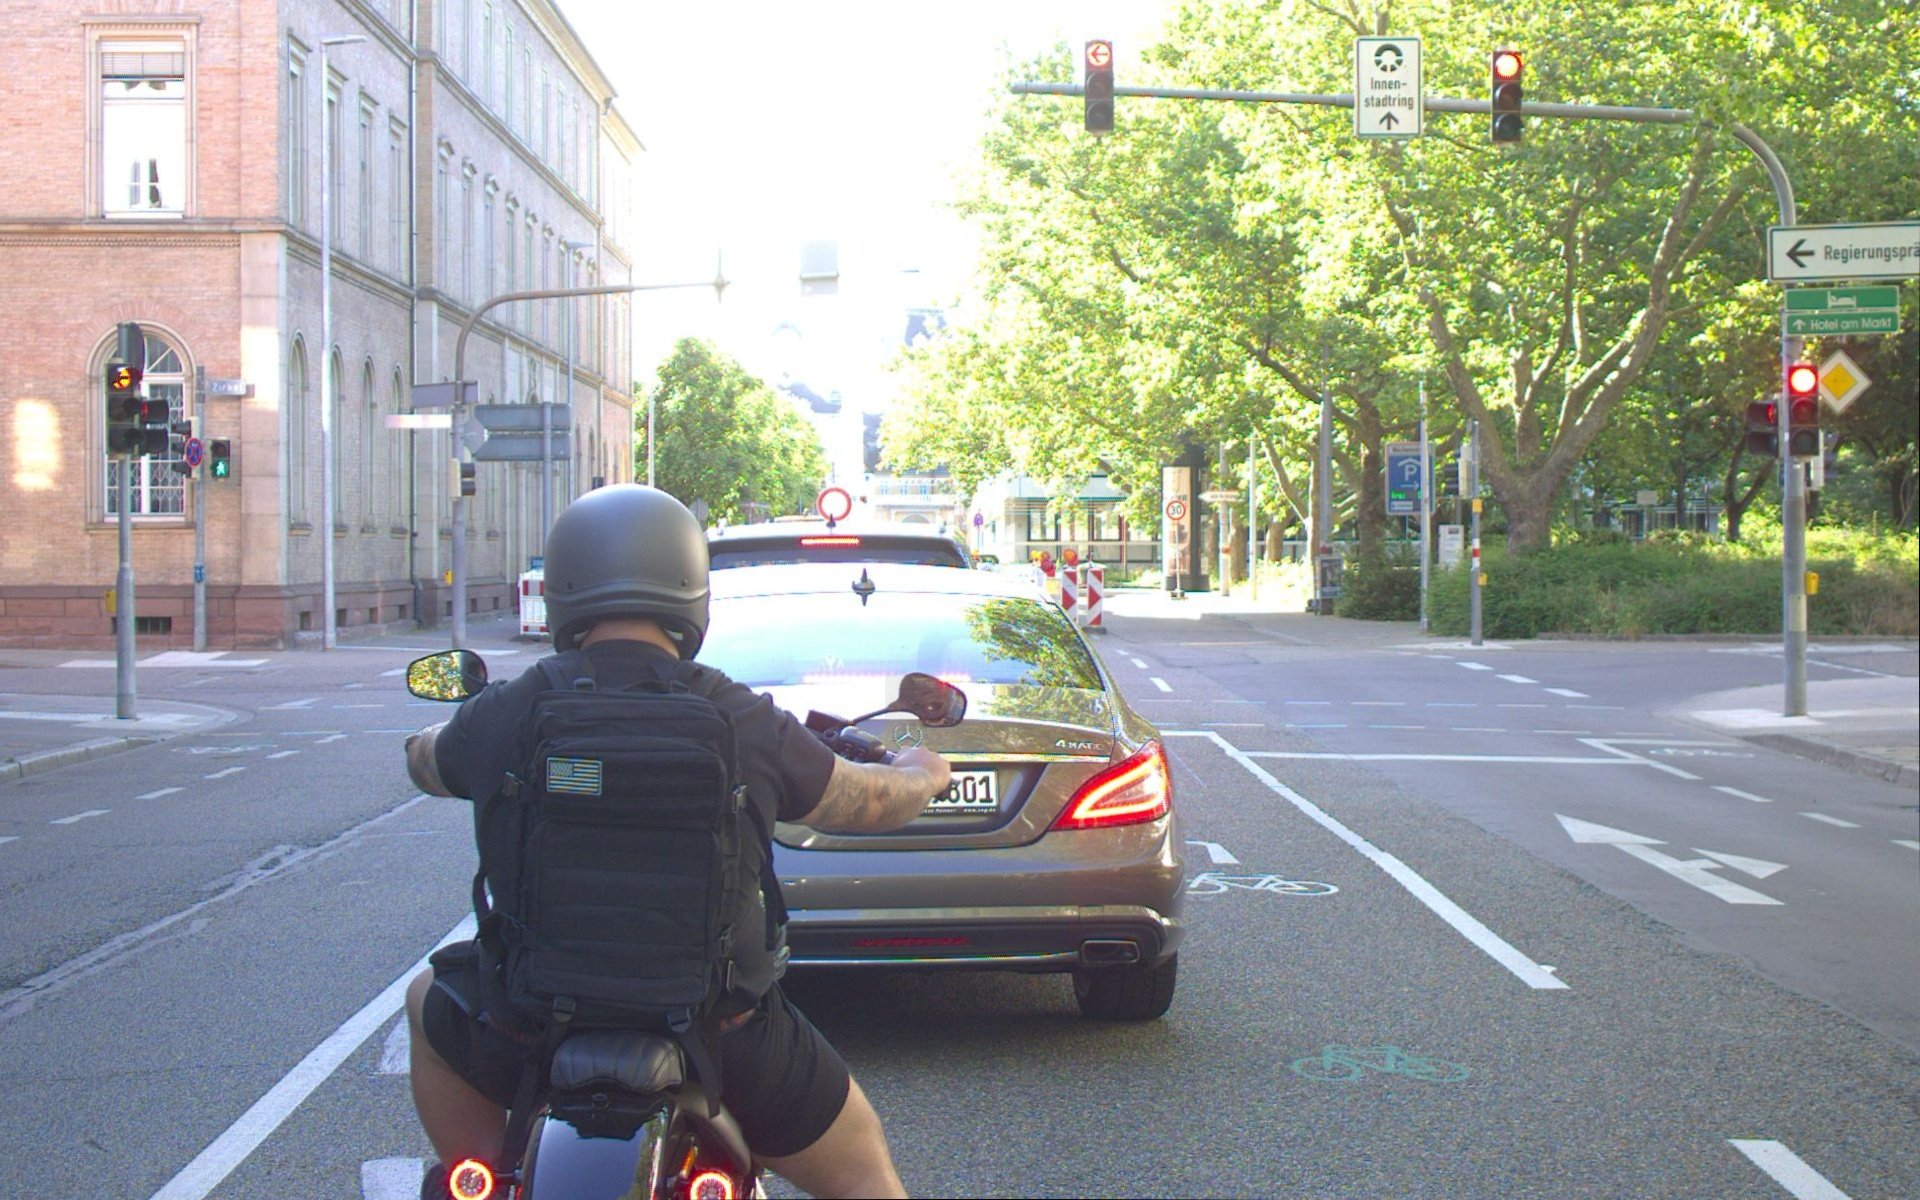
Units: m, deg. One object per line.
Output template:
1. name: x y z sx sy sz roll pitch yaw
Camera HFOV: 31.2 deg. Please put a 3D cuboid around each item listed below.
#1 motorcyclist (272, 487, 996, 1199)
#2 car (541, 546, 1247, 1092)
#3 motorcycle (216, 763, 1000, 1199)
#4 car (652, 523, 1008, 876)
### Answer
1. motorcyclist: -0.454 0.627 5.417 0.989 1.591 1.404 0 1 -1
2. car: -0.433 0.561 11.612 1.945 1.468 4.363 0 1 -7
3. motorcycle: -0.458 0.883 5.576 0.989 1.075 2.452 0 1 -1
4. car: -0.639 0.410 17.777 1.612 1.602 4.329 0 1 -1
